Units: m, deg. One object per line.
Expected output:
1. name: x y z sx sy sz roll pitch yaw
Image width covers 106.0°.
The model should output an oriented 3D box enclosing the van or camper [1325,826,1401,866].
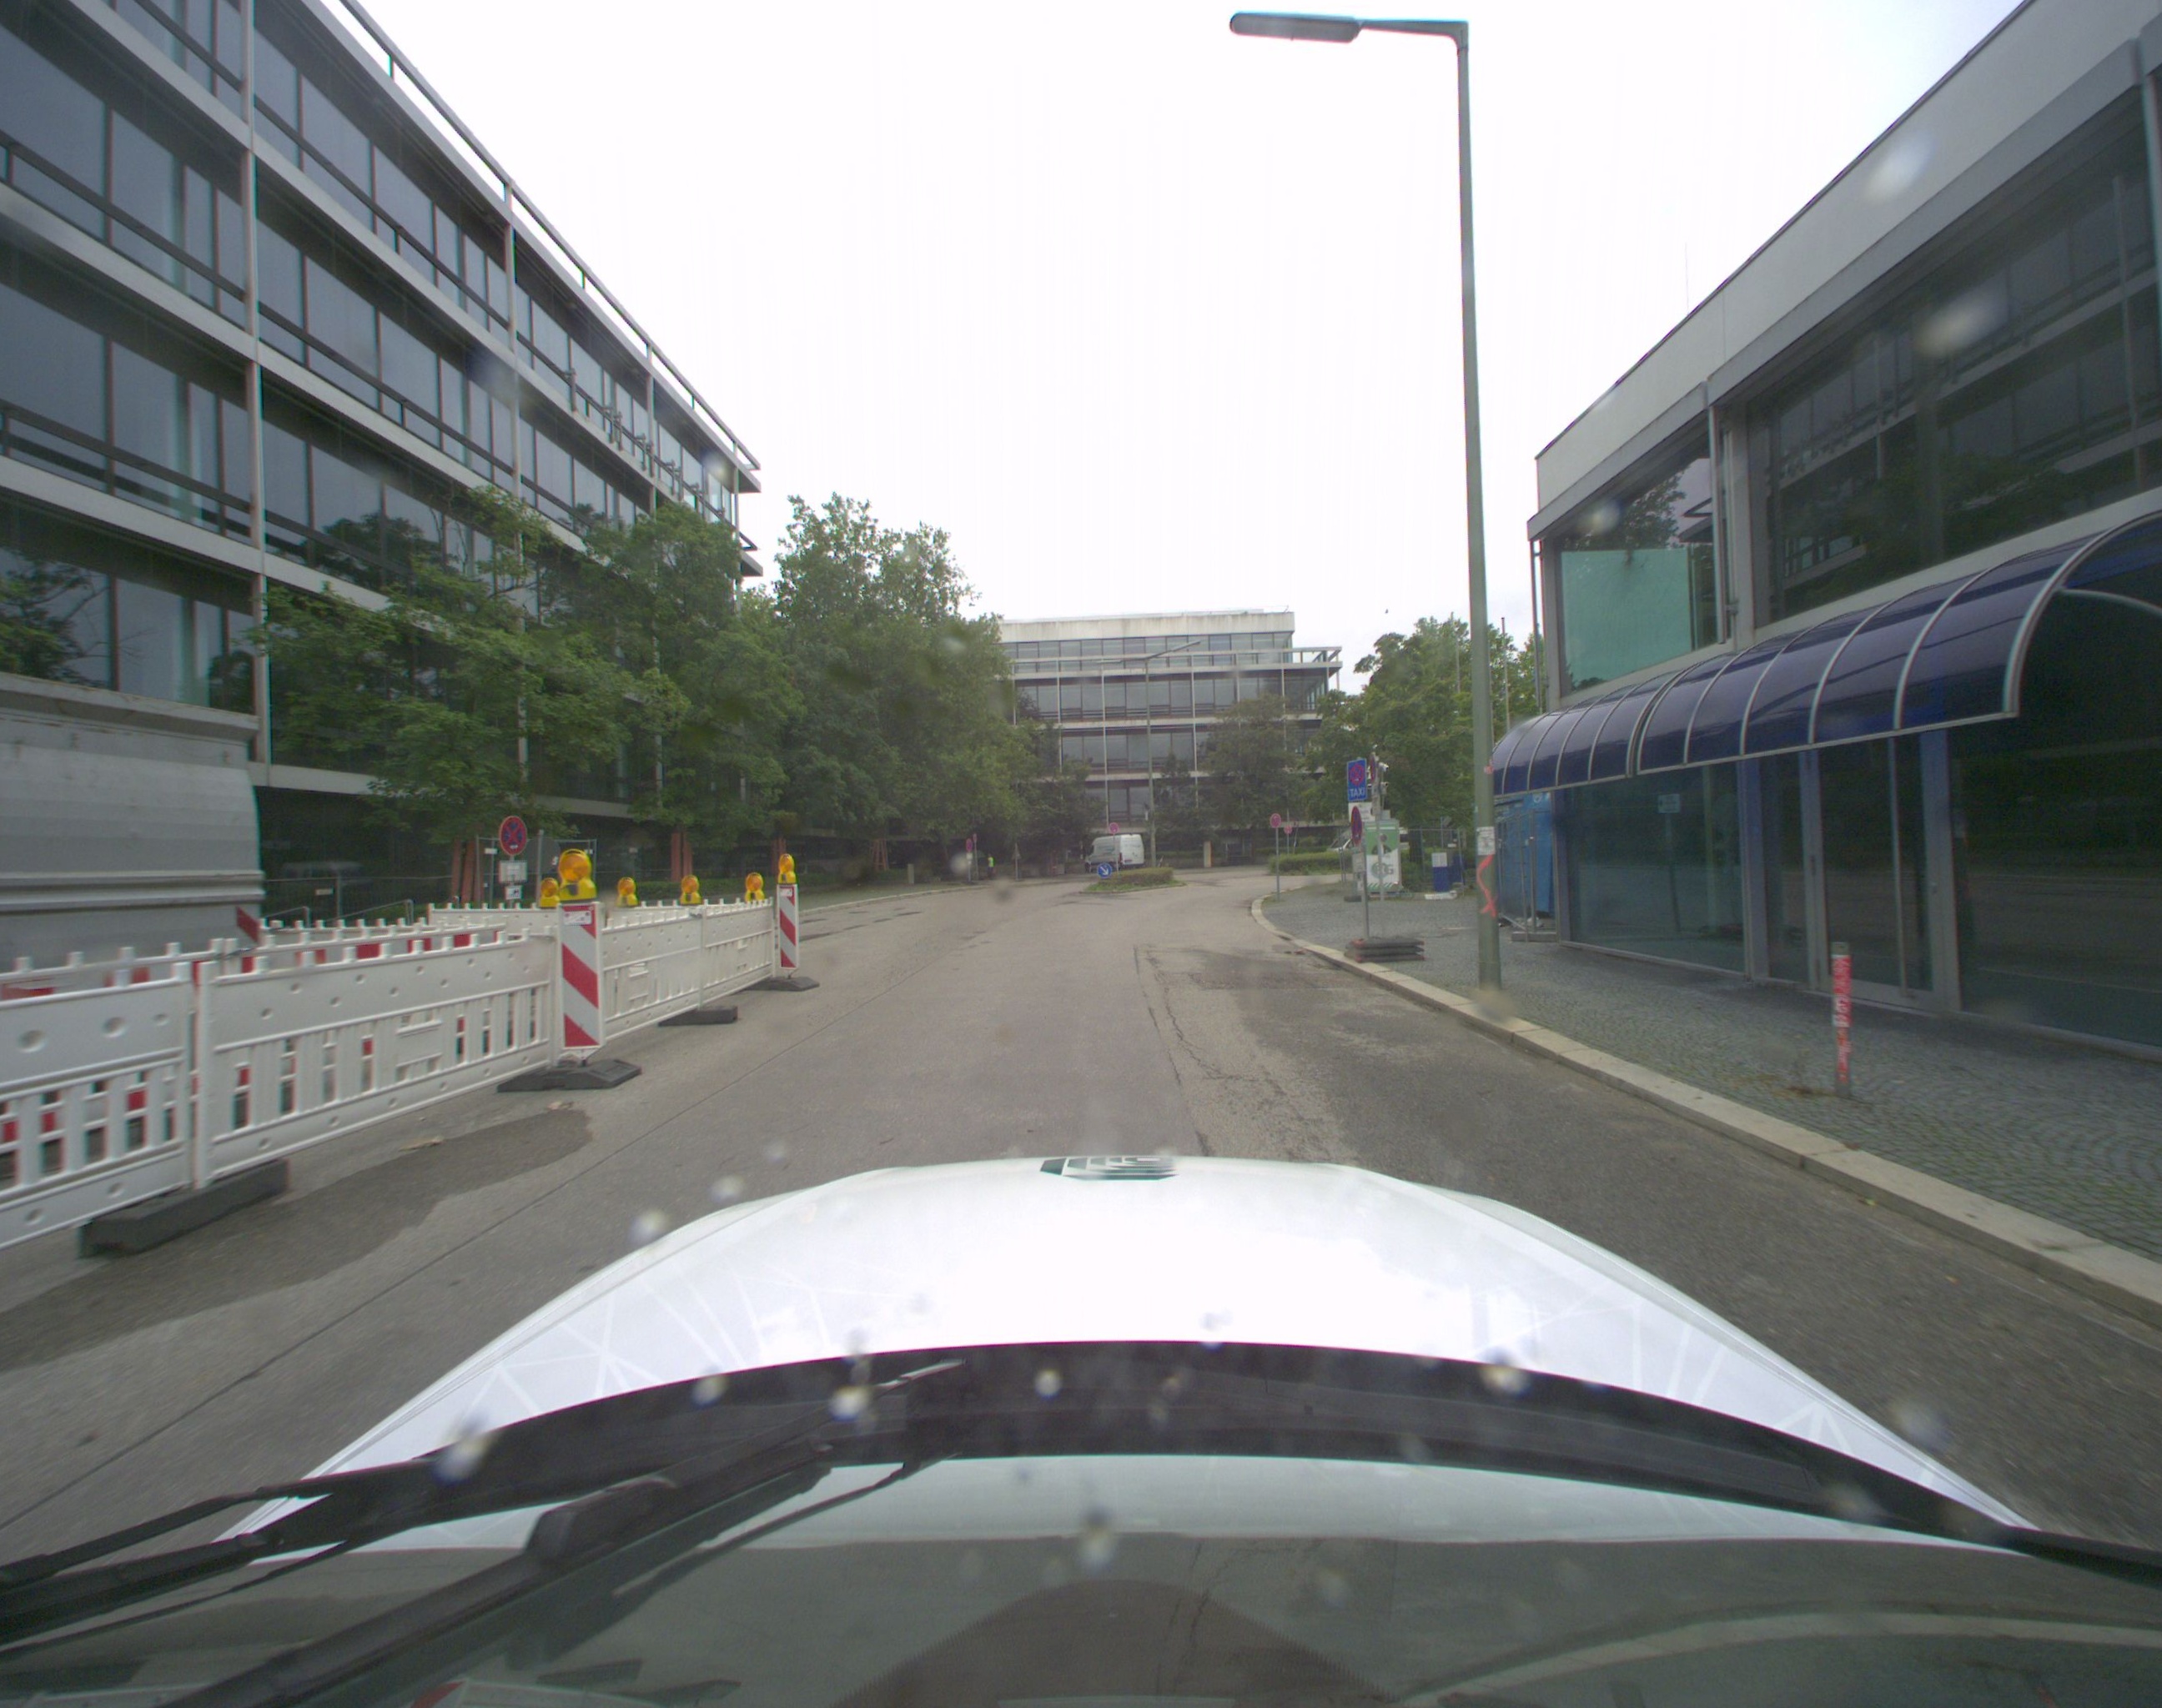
1. van or camper: 19.433 -0.542 56.210 4.449 2.585 2.102 -2 0 -9

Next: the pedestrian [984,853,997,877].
1. pedestrian: -6.458 0.814 57.997 0.743 1.677 0.678 -2 0 -18

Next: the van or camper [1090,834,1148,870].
1. van or camper: 2.690 -0.107 59.100 2.095 2.492 5.027 -2 0 -24
